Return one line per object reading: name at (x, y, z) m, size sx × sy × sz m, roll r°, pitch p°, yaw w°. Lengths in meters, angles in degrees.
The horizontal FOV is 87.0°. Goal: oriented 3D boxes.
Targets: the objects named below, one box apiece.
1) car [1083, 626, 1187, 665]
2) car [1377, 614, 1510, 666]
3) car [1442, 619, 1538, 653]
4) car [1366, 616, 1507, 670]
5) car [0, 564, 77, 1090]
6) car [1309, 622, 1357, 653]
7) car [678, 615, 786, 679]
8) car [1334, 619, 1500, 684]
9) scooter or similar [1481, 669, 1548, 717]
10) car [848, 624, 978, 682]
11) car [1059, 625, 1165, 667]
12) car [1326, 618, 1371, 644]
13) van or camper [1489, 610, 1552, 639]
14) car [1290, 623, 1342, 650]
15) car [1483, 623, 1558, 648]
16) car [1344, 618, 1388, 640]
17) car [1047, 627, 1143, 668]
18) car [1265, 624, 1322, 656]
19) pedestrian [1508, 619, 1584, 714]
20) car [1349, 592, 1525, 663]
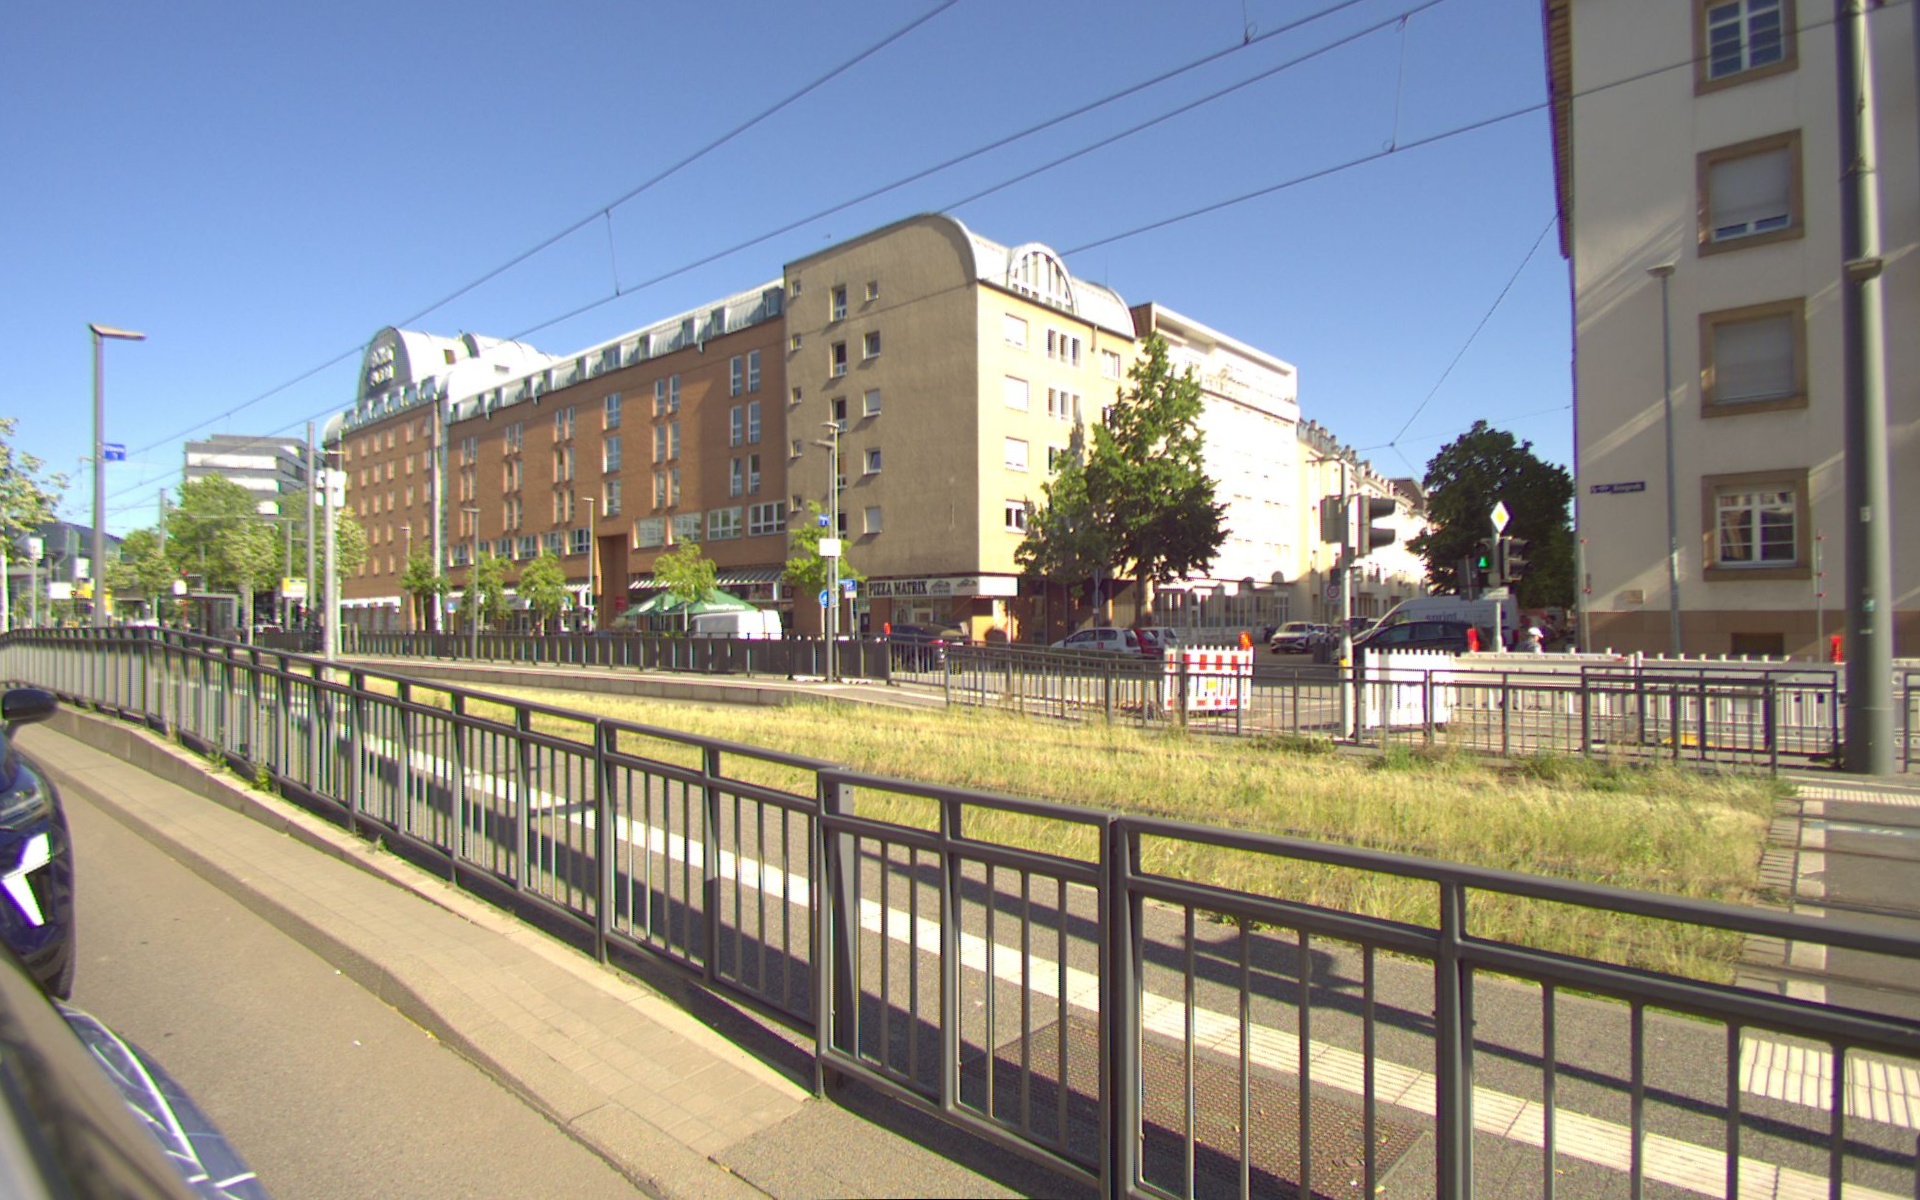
car at (7.340, 1.879, 42.594) m, size 3.997 × 1.497 × 1.693 m, roll -1°, pitch 0°, yaw 40°
car at (16.831, 1.351, 35.268) m, size 3.989 × 1.652 × 1.848 m, roll -1°, pitch 0°, yaw 33°
car at (25.756, 1.733, 49.188) m, size 3.988 × 1.567 × 1.848 m, roll -1°, pitch 0°, yaw 33°
car at (15.705, 1.366, 33.380) m, size 3.989 × 1.652 × 1.848 m, roll -1°, pitch 0°, yaw 33°
car at (-5.051, 0.765, 4.005) m, size 4.418 × 1.597 × 1.736 m, roll -2°, pitch 1°, yaw 41°
car at (22.804, 2.231, 61.815) m, size 1.839 × 1.730 × 4.033 m, roll -1°, pitch 0°, yaw 34°
car at (-9.082, 1.757, 40.005) m, size 1.969 × 2.314 × 5.197 m, roll -1°, pitch 0°, yaw -41°
car at (12.977, 1.403, 28.815) m, size 3.994 × 1.652 × 1.846 m, roll -1°, pitch 0°, yaw 37°
scooter or similar at (8.933, 1.489, 16.327) m, size 0.597 × 0.725 × 0.713 m, roll 0°, pitch -2°, yaw -22°
car at (-1.529, 1.629, 32.062) m, size 3.996 × 1.652 × 1.677 m, roll -1°, pitch 0°, yaw 39°
car at (6.030, 1.799, 40.375) m, size 3.955 × 1.564 × 1.457 m, roll -1°, pitch 0°, yaw 33°
car at (25.300, 2.016, 65.863) m, size 1.993 × 1.630 × 4.141 m, roll -1°, pitch -2°, yaw 31°
van or camper at (44.780, 1.916, 80.820) m, size 4.332 × 2.231 × 1.931 m, roll -1°, pitch 0°, yaw 32°
car at (20.522, 2.095, 58.288) m, size 1.993 × 1.457 × 4.141 m, roll -1°, pitch -2°, yaw 31°
car at (34.935, 2.191, 63.101) m, size 3.986 × 1.440 × 1.760 m, roll -1°, pitch 0°, yaw 32°
car at (28.287, 2.047, 70.432) m, size 1.995 × 1.473 × 4.137 m, roll -1°, pitch -2°, yaw 34°
car at (5.099, 1.785, 38.351) m, size 3.334 × 1.438 × 1.424 m, roll -1°, pitch 0°, yaw 29°
car at (17.742, 2.110, 53.707) m, size 1.993 × 1.630 × 4.141 m, roll -1°, pitch -2°, yaw 31°
pedestrian at (9.603, 1.073, 16.600) m, size 0.792 × 1.515 × 0.713 m, roll 0°, pitch -2°, yaw -23°
car at (17.652, 0.981, 37.579) m, size 5.737 × 2.473 × 1.979 m, roll -1°, pitch 0°, yaw 32°
